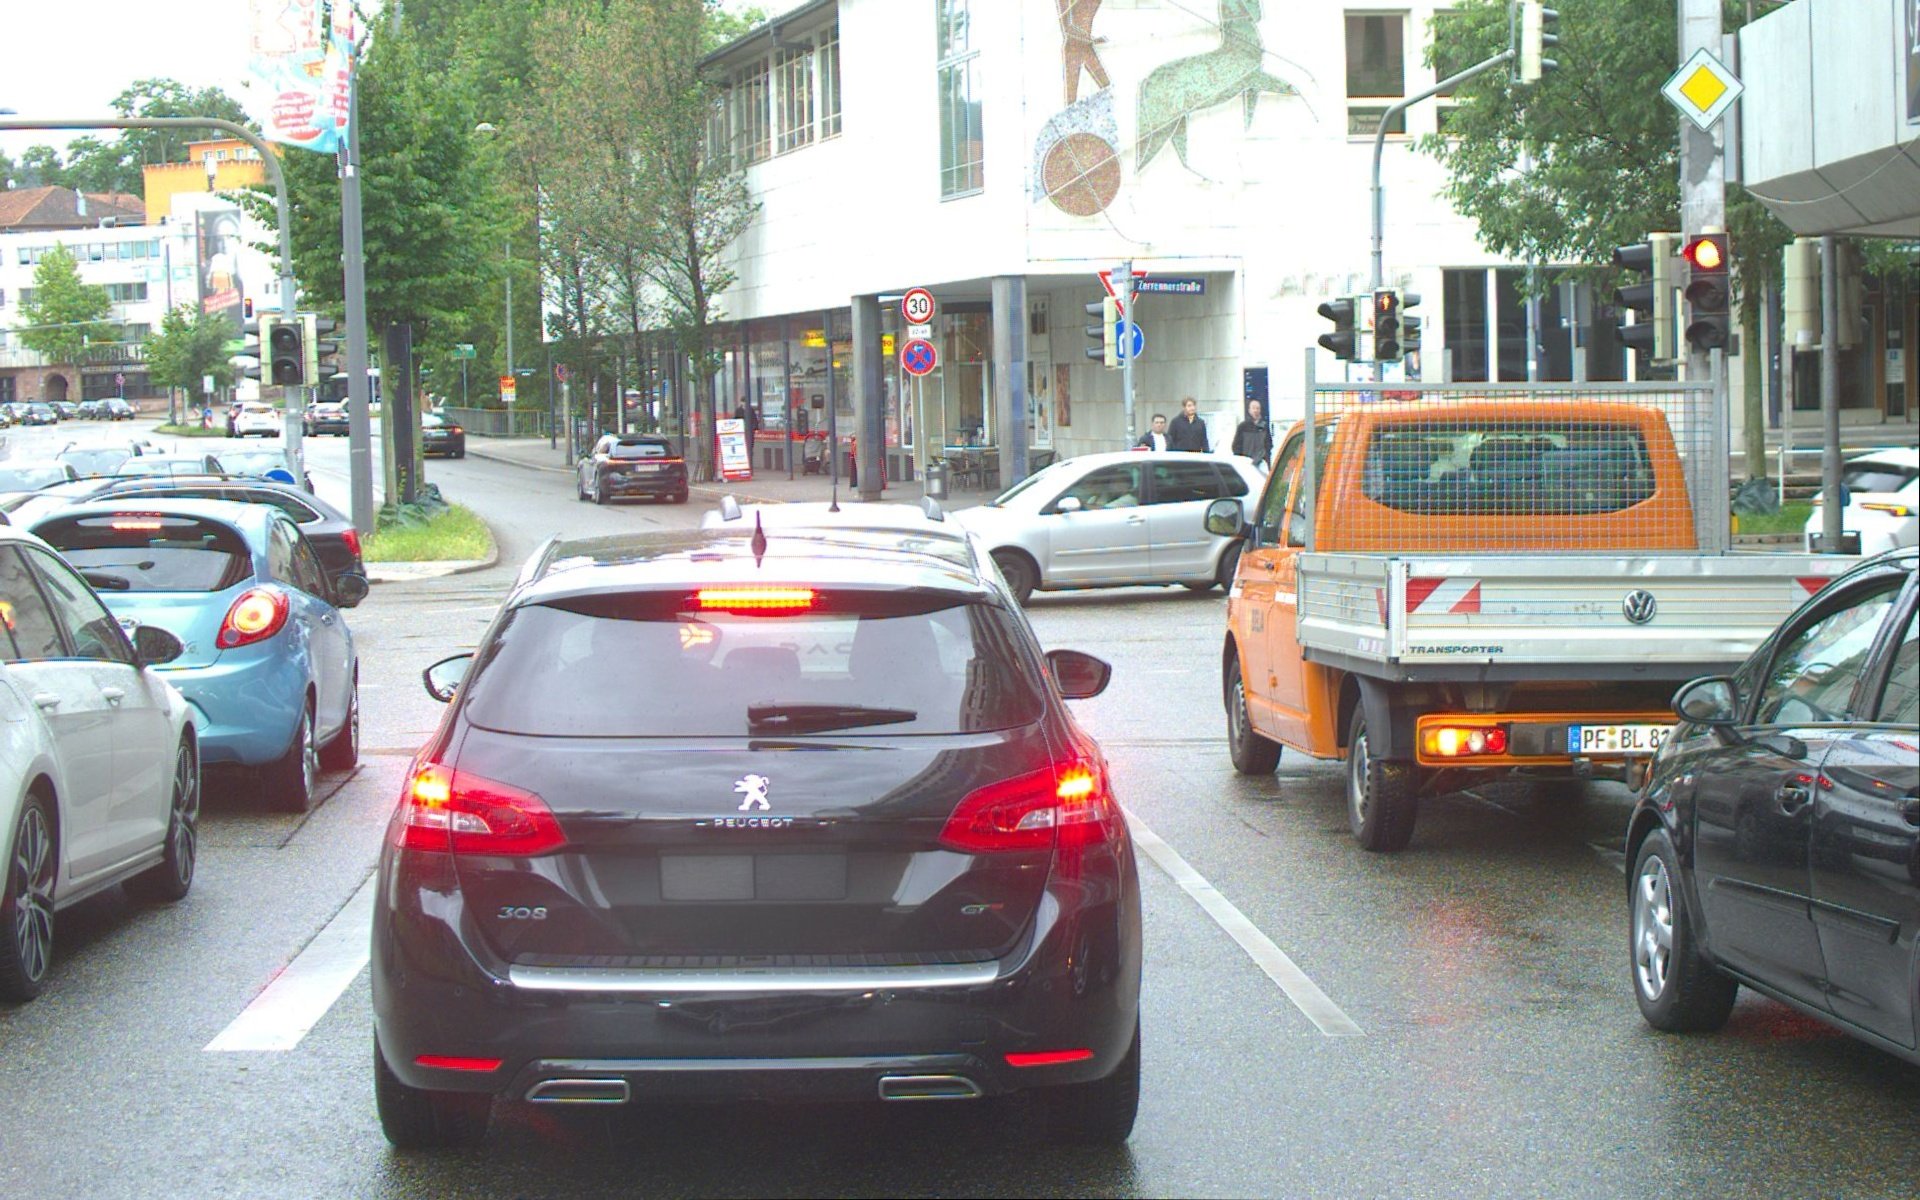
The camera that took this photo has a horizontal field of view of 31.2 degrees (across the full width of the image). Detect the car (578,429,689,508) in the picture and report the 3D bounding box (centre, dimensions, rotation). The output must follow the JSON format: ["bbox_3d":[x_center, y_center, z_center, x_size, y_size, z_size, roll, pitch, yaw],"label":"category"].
[{"bbox_3d":[-6.808,-2.758,71.264,1.787,1.449,4.508,-3,4,-11],"label":"car"}]

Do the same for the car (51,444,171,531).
[{"bbox_3d":[-15.070,-2.021,61.168,1.632,1.481,3.610,0,2,-7],"label":"car"}]

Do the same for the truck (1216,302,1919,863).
[{"bbox_3d":[2.583,-0.165,15.903,2.177,2.165,5.021,1,2,-3],"label":"truck"}]

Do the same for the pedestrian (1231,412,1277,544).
[{"bbox_3d":[4.283,-1.771,50.045,0.637,1.891,0.733,0,0,6],"label":"pedestrian"}]

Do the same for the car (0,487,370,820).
[{"bbox_3d":[-3.966,0.192,17.473,1.632,1.481,3.610,0,2,-5],"label":"car"}]

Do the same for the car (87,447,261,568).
[{"bbox_3d":[-10.926,-1.256,48.001,1.744,1.574,4.000,1,0,-4],"label":"car"}]

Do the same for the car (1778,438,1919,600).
[{"bbox_3d":[10.180,-0.778,32.869,4.291,1.481,1.639,0,2,-14],"label":"car"}]

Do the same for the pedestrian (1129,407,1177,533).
[{"bbox_3d":[2.731,-1.830,48.615,0.637,1.752,0.733,0,0,6],"label":"pedestrian"}]

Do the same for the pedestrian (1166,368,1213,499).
[{"bbox_3d":[3.372,-2.435,50.466,0.637,1.891,0.733,0,0,6],"label":"pedestrian"}]

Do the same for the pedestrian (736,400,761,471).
[{"bbox_3d":[-5.272,-4.100,85.796,0.468,1.742,0.541,1,0,-21],"label":"pedestrian"}]

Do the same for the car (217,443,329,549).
[{"bbox_3d":[-11.396,-1.691,57.103,1.744,1.634,4.001,1,0,-11],"label":"car"}]

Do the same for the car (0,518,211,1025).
[{"bbox_3d":[-3.724,0.453,11.464,1.777,1.424,3.843,0,2,-3],"label":"car"}]

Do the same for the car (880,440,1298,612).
[{"bbox_3d":[1.253,-0.753,33.916,3.740,1.463,1.639,-3,3,-16],"label":"car"}]

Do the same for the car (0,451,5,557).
[{"bbox_3d":[-14.196,-1.293,46.848,1.574,1.481,3.610,0,2,-4],"label":"car"}]

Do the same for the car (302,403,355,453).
[{"bbox_3d":[-27.049,-7.337,147.182,1.705,1.929,4.001,1,0,-18],"label":"car"}]

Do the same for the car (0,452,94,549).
[{"bbox_3d":[-14.722,-1.592,54.178,1.632,1.481,3.610,0,2,-7],"label":"car"}]

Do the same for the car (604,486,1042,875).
[{"bbox_3d":[-0.563,0.253,15.315,1.696,1.481,3.794,1,2,-1],"label":"car"}]

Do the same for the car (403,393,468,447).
[{"bbox_3d":[-17.049,-5.819,111.685,1.724,1.485,4.734,1,0,-13],"label":"car"}]

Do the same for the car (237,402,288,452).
[{"bbox_3d":[-29.647,-7.333,146.008,1.705,1.875,4.001,1,0,-18],"label":"car"}]

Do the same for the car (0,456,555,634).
[{"bbox_3d":[-6.110,-0.514,30.540,4.722,1.481,1.638,-1,3,-30],"label":"car"}]

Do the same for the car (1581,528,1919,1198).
[{"bbox_3d":[2.832,0.559,8.651,1.616,1.424,3.843,0,2,-3],"label":"car"}]

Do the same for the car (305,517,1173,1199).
[{"bbox_3d":[-0.538,0.516,9.015,1.777,1.424,3.843,0,2,-2],"label":"car"}]
